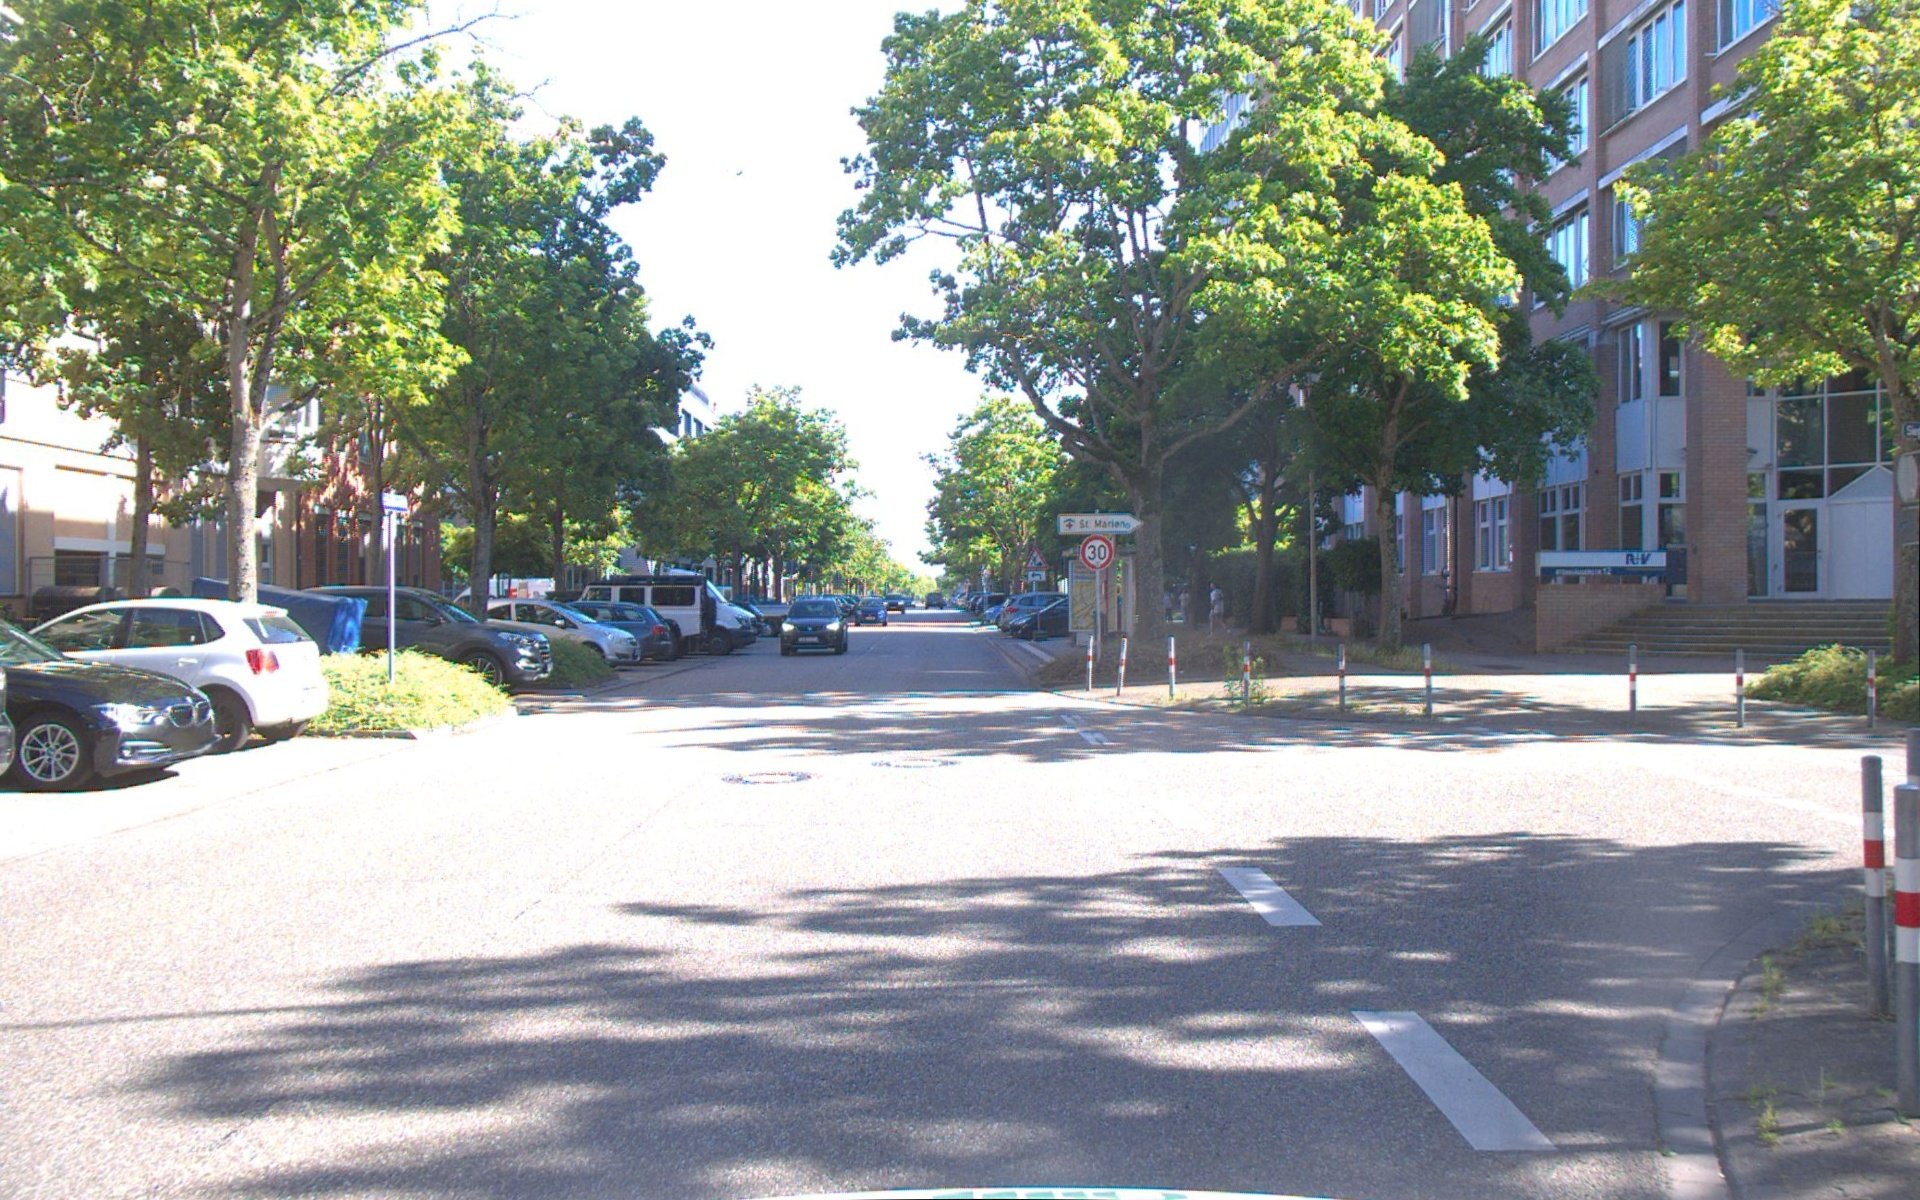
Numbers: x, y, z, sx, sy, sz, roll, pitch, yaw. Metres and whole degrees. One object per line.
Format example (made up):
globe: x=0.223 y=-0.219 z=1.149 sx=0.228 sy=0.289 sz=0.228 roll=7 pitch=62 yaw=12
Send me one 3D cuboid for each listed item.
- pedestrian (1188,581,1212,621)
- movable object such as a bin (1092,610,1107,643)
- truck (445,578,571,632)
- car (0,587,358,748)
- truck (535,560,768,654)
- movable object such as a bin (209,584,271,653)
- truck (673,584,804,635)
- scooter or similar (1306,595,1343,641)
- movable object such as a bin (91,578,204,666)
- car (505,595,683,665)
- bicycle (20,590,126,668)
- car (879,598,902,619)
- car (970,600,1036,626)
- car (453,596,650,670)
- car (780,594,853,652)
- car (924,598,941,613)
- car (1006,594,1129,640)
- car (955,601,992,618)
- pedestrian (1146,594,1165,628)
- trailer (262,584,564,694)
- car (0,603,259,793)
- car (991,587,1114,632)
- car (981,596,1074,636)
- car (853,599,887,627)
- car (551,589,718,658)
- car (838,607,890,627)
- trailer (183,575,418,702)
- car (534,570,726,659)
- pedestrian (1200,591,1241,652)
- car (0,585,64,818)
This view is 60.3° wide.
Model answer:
pedestrian: x=10.667 y=0.046 z=73.397 sx=0.684 sy=1.740 sz=0.918 roll=-3 pitch=0 yaw=-12
movable object such as a bin: x=3.312 y=0.628 z=39.323 sx=0.292 sy=0.767 sz=0.467 roll=-2 pitch=-1 yaw=-1
truck: x=-23.849 y=0.253 z=87.457 sx=5.982 sy=2.752 sz=2.576 roll=-1 pitch=0 yaw=-3
car: x=-8.342 y=0.648 z=16.904 sx=3.677 sy=1.478 sz=1.754 roll=2 pitch=0 yaw=0
truck: x=-8.623 y=0.212 z=46.712 sx=6.105 sy=2.464 sz=2.187 roll=1 pitch=-1 yaw=-1
movable object such as a bin: x=-17.555 y=0.443 z=40.377 sx=1.125 sy=1.648 sz=1.437 roll=0 pitch=0 yaw=-13
truck: x=-8.778 y=0.365 z=65.920 sx=4.882 sy=1.993 sz=2.138 roll=0 pitch=0 yaw=1
scooter or similar: x=11.035 y=0.551 z=50.054 sx=0.538 sy=1.349 sz=1.803 roll=1 pitch=-1 yaw=-6
movable object such as a bin: x=-17.373 y=0.461 z=35.434 sx=1.566 sy=1.828 sz=1.664 roll=0 pitch=0 yaw=1
car: x=-8.492 y=0.684 z=38.575 sx=3.700 sy=1.518 sz=1.833 roll=1 pitch=0 yaw=0
bicycle: x=-16.963 y=0.558 z=31.658 sx=1.701 sy=1.433 sz=0.610 roll=2 pitch=-1 yaw=-24
car: x=-5.905 y=0.746 z=139.927 sx=1.854 sy=1.713 sz=4.350 roll=-1 pitch=0 yaw=-3
car: x=2.828 y=0.869 z=109.834 sx=4.183 sy=1.662 sz=1.857 roll=-1 pitch=0 yaw=-4
car: x=-8.793 y=0.690 z=35.783 sx=3.754 sy=1.486 sz=1.733 roll=1 pitch=0 yaw=2
car: x=-3.984 y=0.627 z=46.410 sx=1.743 sy=1.538 sz=3.999 roll=0 pitch=0 yaw=-1
car: x=-3.033 y=0.626 z=182.335 sx=1.894 sy=1.625 sz=4.365 roll=-1 pitch=0 yaw=-1
car: x=3.487 y=0.538 z=54.024 sx=3.856 sy=1.464 sz=1.773 roll=0 pitch=0 yaw=-3
car: x=1.472 y=1.003 z=181.438 sx=3.910 sy=1.824 sz=1.997 roll=0 pitch=0 yaw=-6
pedestrian: x=8.583 y=0.478 z=72.575 sx=0.686 sy=1.483 sz=0.715 roll=-1 pitch=0 yaw=-4
trailer: x=-8.579 y=0.606 z=26.239 sx=4.177 sy=1.599 sz=1.854 roll=1 pitch=0 yaw=-5
car: x=-8.287 y=0.741 z=13.782 sx=4.067 sy=1.427 sz=1.800 roll=2 pitch=0 yaw=-2
car: x=3.396 y=0.345 z=60.986 sx=4.269 sy=1.625 sz=1.936 roll=0 pitch=0 yaw=-7
car: x=3.226 y=0.765 z=79.714 sx=4.317 sy=1.646 sz=1.911 roll=-3 pitch=0 yaw=-2
car: x=-4.733 y=0.679 z=87.452 sx=1.610 sy=1.445 sz=3.999 roll=-1 pitch=0 yaw=-1
car: x=-8.546 y=0.611 z=43.766 sx=4.025 sy=1.691 sz=1.999 roll=1 pitch=-1 yaw=-2
car: x=-7.061 y=1.254 z=121.859 sx=3.814 sy=1.489 sz=1.857 roll=0 pitch=0 yaw=-2
trailer: x=-9.465 y=0.538 z=23.906 sx=2.669 sy=1.717 sz=1.712 roll=1 pitch=0 yaw=-1
car: x=-8.209 y=0.371 z=41.468 sx=4.392 sy=2.088 sz=1.999 roll=1 pitch=-1 yaw=-3
pedestrian: x=7.639 y=0.622 z=48.575 sx=0.902 sy=1.740 sz=0.695 roll=-4 pitch=0 yaw=-14
car: x=-8.505 y=0.627 z=11.150 sx=3.906 sy=1.598 sz=1.728 roll=2 pitch=0 yaw=-2
